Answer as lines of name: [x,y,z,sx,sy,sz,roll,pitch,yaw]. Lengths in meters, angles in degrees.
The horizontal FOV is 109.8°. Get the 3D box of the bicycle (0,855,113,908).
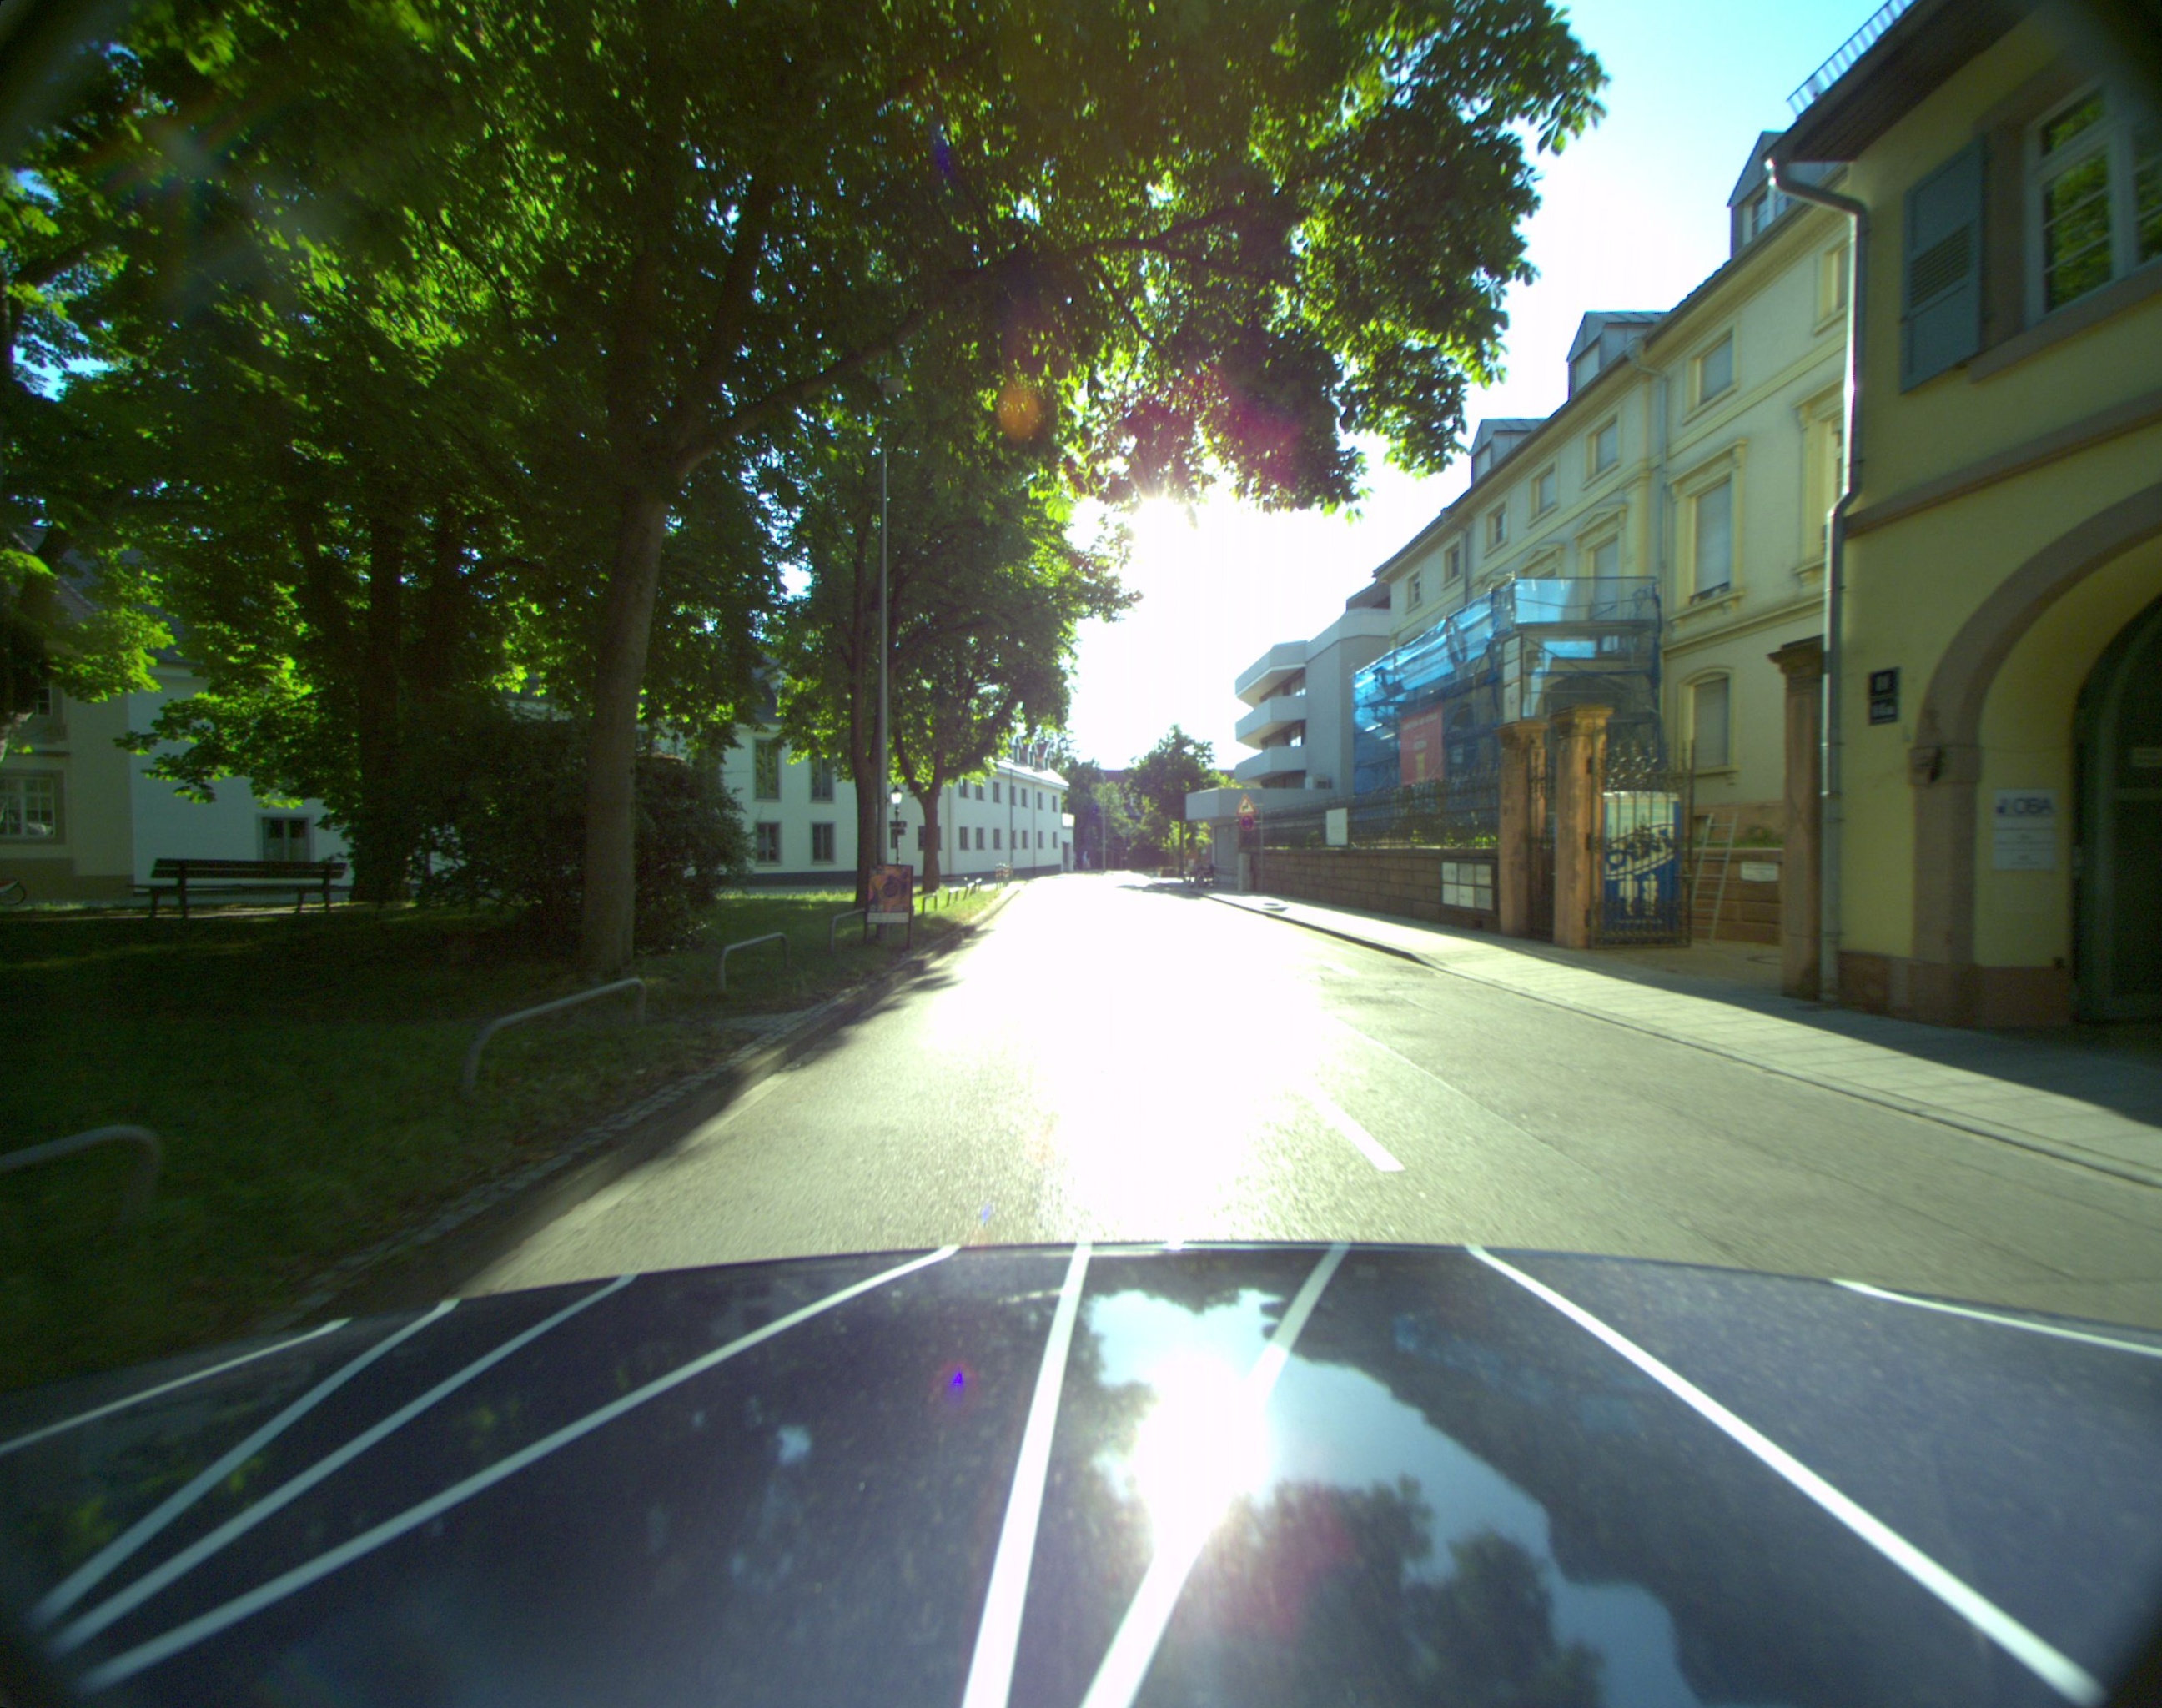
bicycle: [-26.513,0.701,19.600,1.767,1.310,0.720,0,1,-30]

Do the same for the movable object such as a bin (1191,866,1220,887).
movable object such as a bin: [5.728,1.043,34.935,1.035,0.923,0.842,-2,1,33]

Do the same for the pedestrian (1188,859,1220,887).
pedestrian: [5.669,0.873,34.971,1.155,1.222,0.842,-2,1,33]

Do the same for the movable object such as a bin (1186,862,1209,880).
movable object such as a bin: [6.354,0.933,41.429,1.038,0.923,0.840,-3,1,-8]

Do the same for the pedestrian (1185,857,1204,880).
pedestrian: [6.177,0.781,41.410,0.743,1.179,0.840,-3,1,-8]
